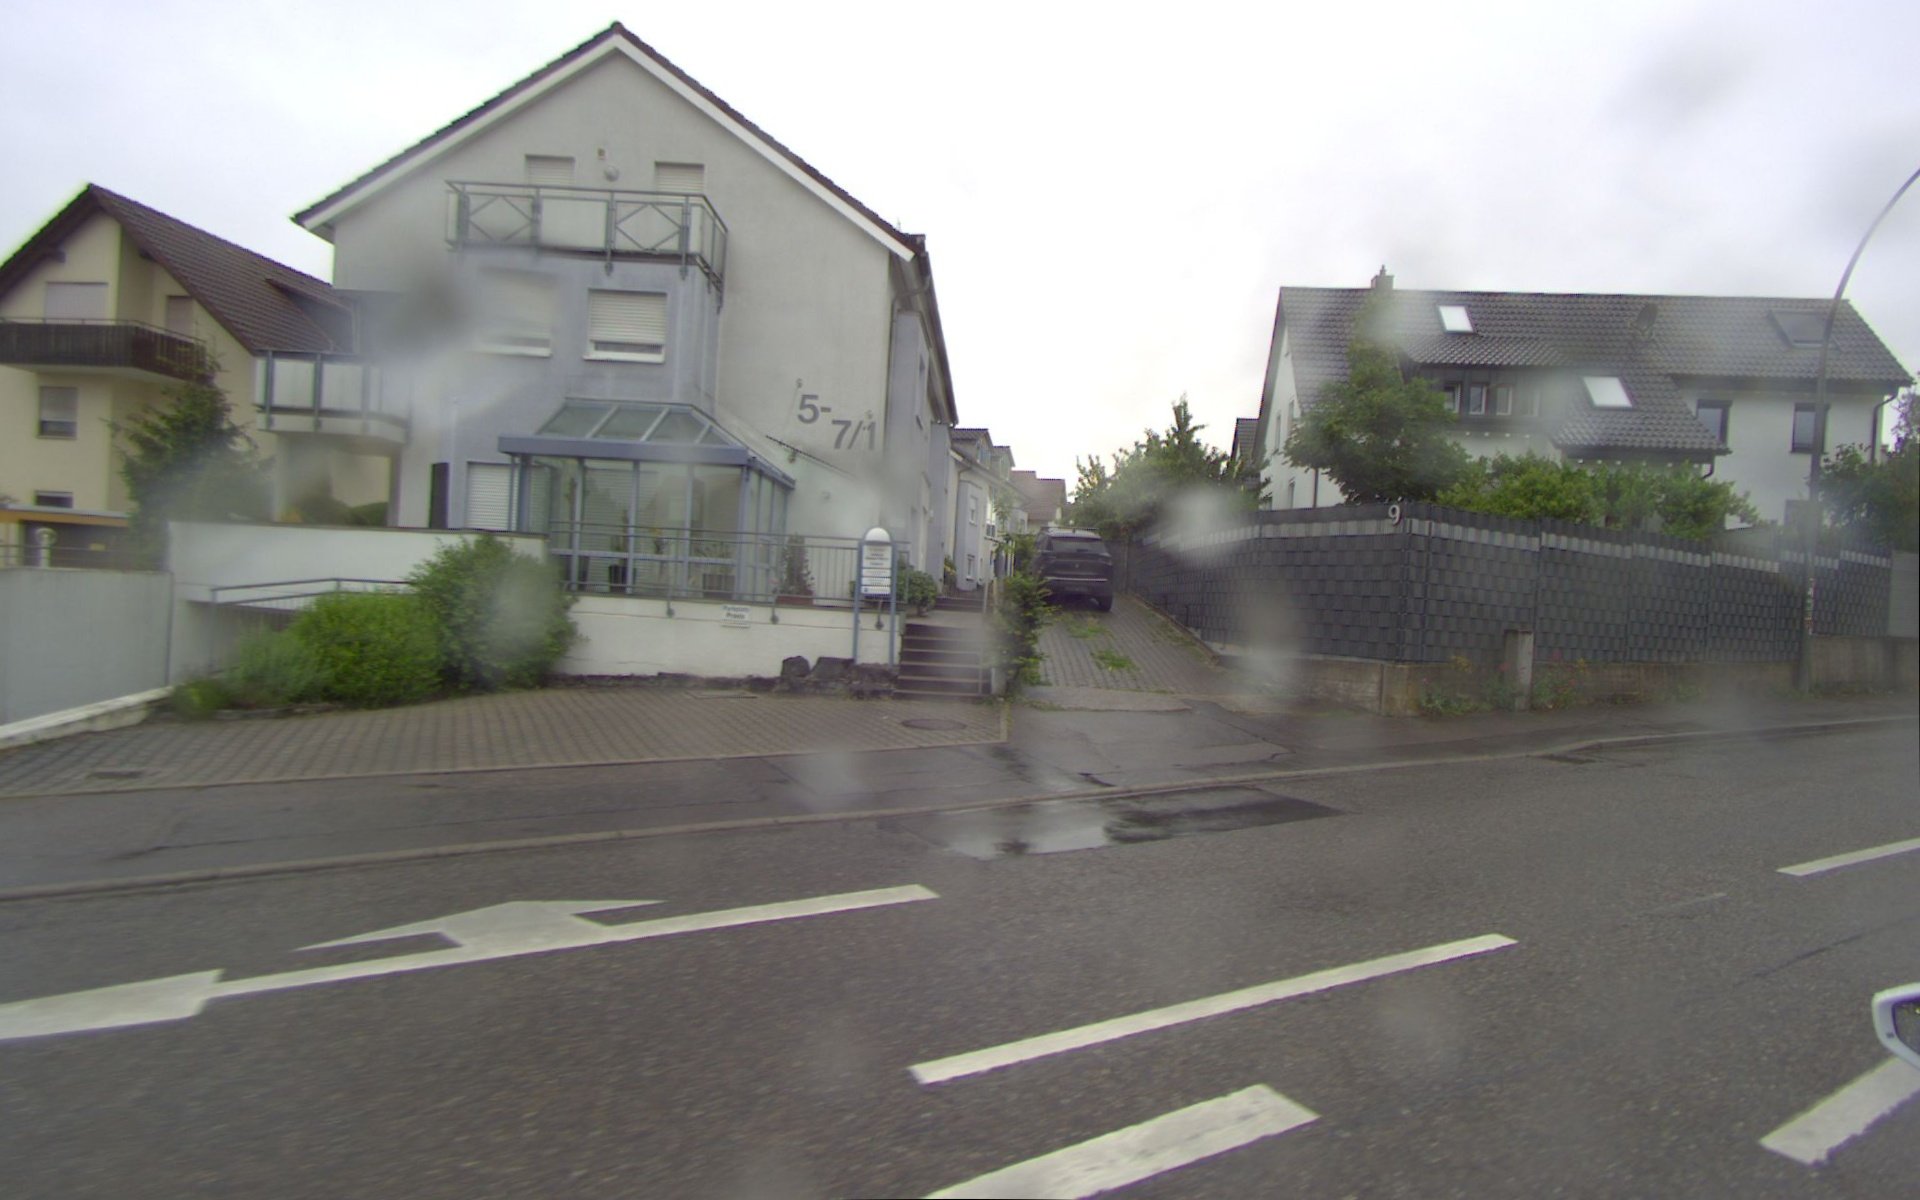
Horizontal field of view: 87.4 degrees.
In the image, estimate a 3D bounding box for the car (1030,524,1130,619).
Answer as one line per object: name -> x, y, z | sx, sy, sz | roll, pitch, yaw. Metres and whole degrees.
car -> 2.664, -0.747, 23.185 | 1.960, 1.806, 3.999 | 3, 6, 3
